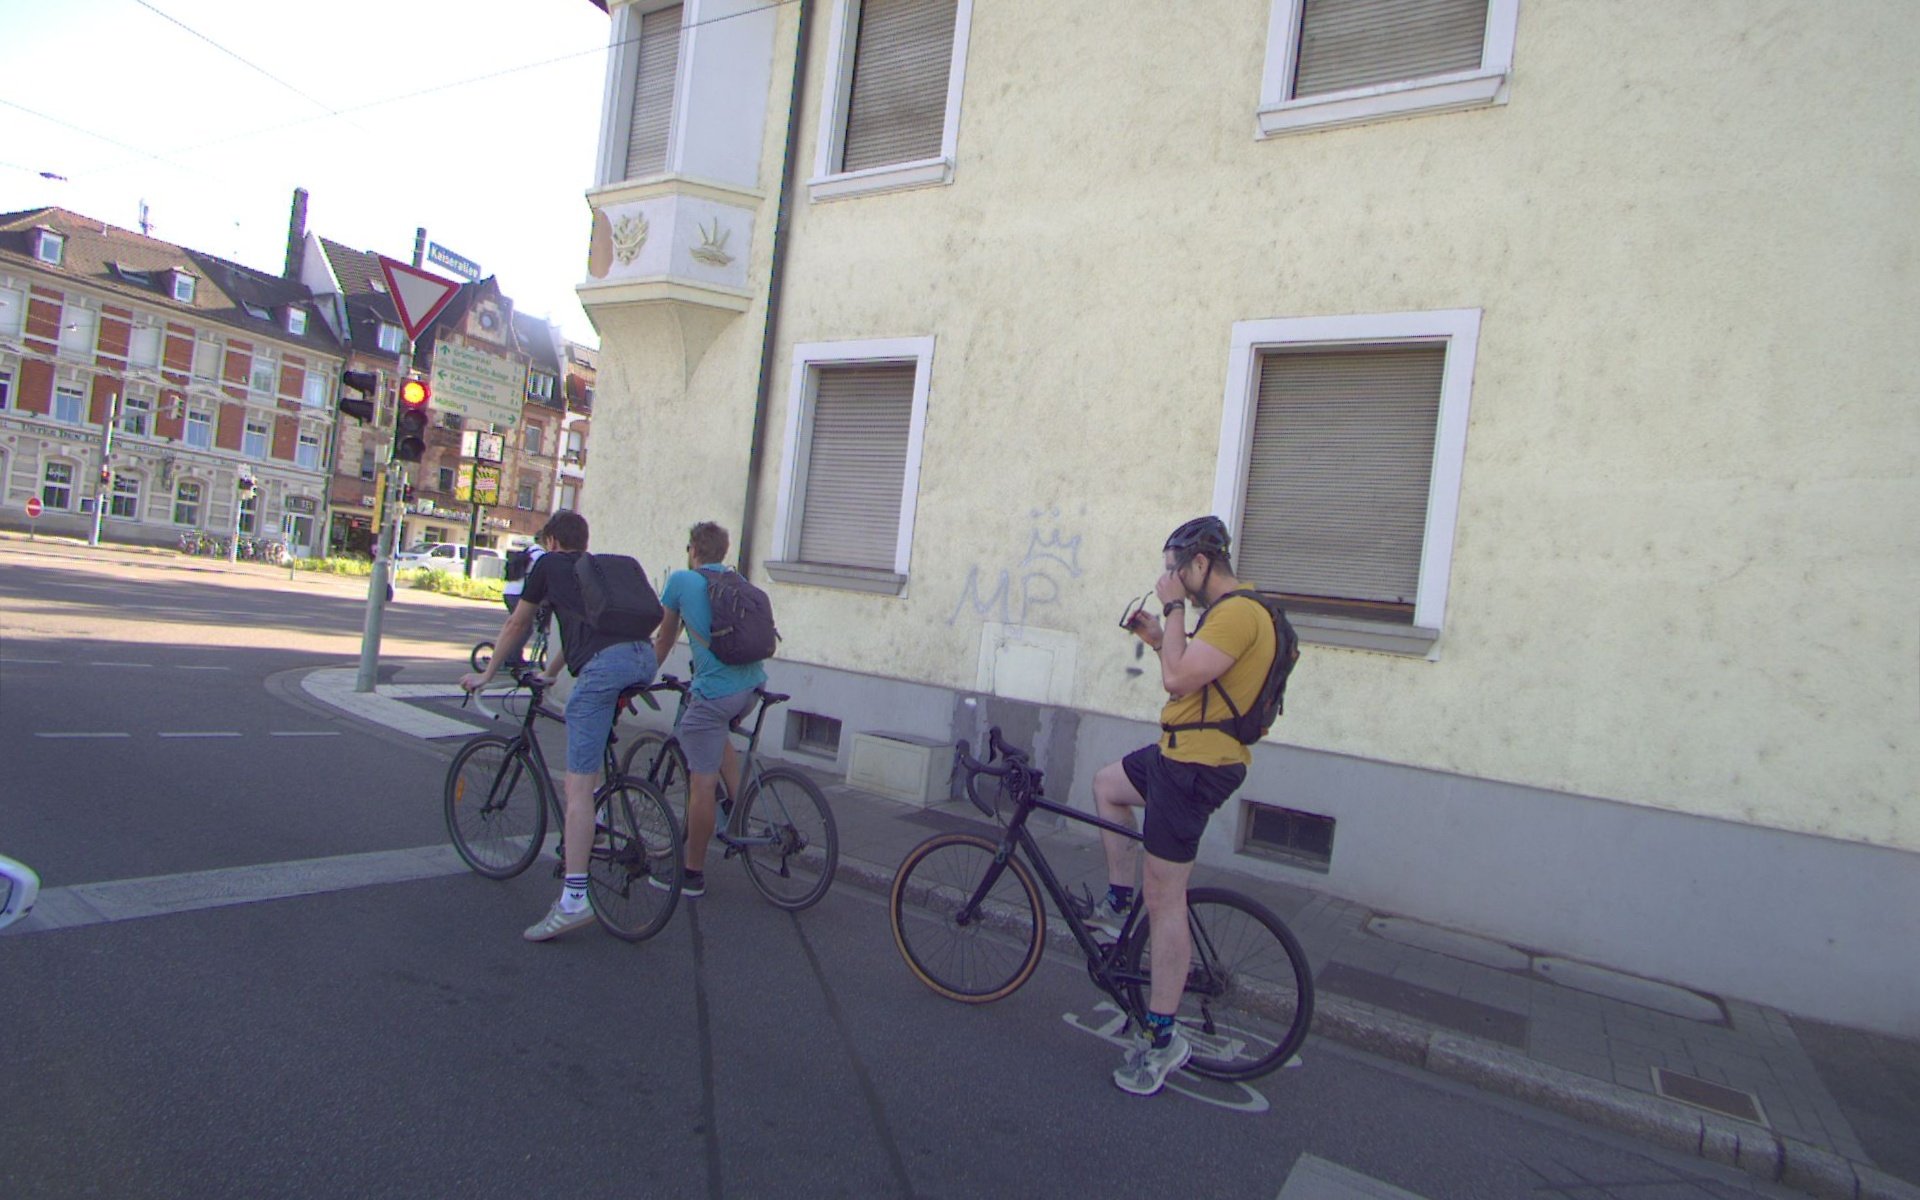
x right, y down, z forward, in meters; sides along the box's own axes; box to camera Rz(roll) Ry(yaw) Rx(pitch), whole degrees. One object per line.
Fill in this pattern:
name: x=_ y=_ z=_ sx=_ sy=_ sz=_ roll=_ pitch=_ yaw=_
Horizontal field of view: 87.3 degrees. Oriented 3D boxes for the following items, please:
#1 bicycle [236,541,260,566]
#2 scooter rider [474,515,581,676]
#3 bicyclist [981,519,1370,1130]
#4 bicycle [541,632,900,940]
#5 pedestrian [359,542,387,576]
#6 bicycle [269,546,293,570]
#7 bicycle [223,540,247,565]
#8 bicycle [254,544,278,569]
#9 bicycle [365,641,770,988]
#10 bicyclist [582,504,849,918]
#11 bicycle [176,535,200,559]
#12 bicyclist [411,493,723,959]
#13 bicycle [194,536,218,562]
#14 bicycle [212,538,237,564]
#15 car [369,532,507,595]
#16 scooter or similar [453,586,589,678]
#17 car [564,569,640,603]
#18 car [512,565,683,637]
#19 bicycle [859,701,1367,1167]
bicycle: x=-33.660 y=-2.184 z=47.557 sx=1.759 sy=1.033 sz=0.485 roll=7 pitch=0 yaw=42
scooter rider: x=-5.512 y=-0.048 z=12.828 sx=0.784 sy=1.937 sz=0.795 roll=7 pitch=2 yaw=31
bicyclist: x=0.781 y=0.698 z=3.647 sx=1.019 sy=1.839 sz=0.652 roll=7 pitch=0 yaw=32
bicycle: x=-1.300 y=0.879 z=5.271 sx=1.858 sy=1.180 sz=0.571 roll=7 pitch=0 yaw=32
pedestrian: x=-32.456 y=-2.270 z=55.600 sx=0.620 sy=1.731 sz=1.035 roll=6 pitch=-1 yaw=40
bicycle: x=-33.078 y=-2.050 z=48.973 sx=1.759 sy=1.033 sz=0.485 roll=7 pitch=0 yaw=42
bicycle: x=-33.988 y=-2.243 z=47.165 sx=1.759 sy=1.033 sz=0.485 roll=7 pitch=0 yaw=42
bicycle: x=-33.297 y=-2.106 z=48.285 sx=1.759 sy=1.033 sz=0.485 roll=7 pitch=0 yaw=42
bicycle: x=-1.789 y=0.837 z=4.459 sx=1.858 sy=1.071 sz=0.571 roll=7 pitch=0 yaw=32
bicyclist: x=-1.276 y=0.526 z=5.261 sx=0.978 sy=1.910 sz=0.652 roll=7 pitch=0 yaw=32
bicycle: x=-35.051 y=-2.406 z=45.660 sx=1.759 sy=0.925 sz=0.485 roll=7 pitch=0 yaw=42
bicyclist: x=-1.741 y=0.493 z=4.460 sx=0.978 sy=1.788 sz=0.652 roll=7 pitch=0 yaw=32
bicycle: x=-34.626 y=-2.333 z=46.196 sx=1.759 sy=1.033 sz=0.485 roll=7 pitch=0 yaw=42
bicycle: x=-34.175 y=-2.284 z=46.742 sx=1.759 sy=1.033 sz=0.485 roll=7 pitch=0 yaw=42
car: x=-23.044 y=-1.571 z=44.607 sx=1.967 sy=2.037 sz=4.988 roll=7 pitch=-1 yaw=31
scooter or similar: x=-5.541 y=0.427 z=12.766 sx=0.556 sy=1.056 sz=1.432 roll=7 pitch=0 yaw=31
car: x=-23.157 y=-0.874 z=65.223 sx=1.966 sy=1.641 sz=4.261 roll=7 pitch=-1 yaw=29
car: x=-9.528 y=0.083 z=26.808 sx=1.616 sy=1.397 sz=4.284 roll=7 pitch=-1 yaw=25
bicycle: x=0.522 y=1.091 z=3.763 sx=1.670 sy=1.180 sz=0.571 roll=7 pitch=0 yaw=32
